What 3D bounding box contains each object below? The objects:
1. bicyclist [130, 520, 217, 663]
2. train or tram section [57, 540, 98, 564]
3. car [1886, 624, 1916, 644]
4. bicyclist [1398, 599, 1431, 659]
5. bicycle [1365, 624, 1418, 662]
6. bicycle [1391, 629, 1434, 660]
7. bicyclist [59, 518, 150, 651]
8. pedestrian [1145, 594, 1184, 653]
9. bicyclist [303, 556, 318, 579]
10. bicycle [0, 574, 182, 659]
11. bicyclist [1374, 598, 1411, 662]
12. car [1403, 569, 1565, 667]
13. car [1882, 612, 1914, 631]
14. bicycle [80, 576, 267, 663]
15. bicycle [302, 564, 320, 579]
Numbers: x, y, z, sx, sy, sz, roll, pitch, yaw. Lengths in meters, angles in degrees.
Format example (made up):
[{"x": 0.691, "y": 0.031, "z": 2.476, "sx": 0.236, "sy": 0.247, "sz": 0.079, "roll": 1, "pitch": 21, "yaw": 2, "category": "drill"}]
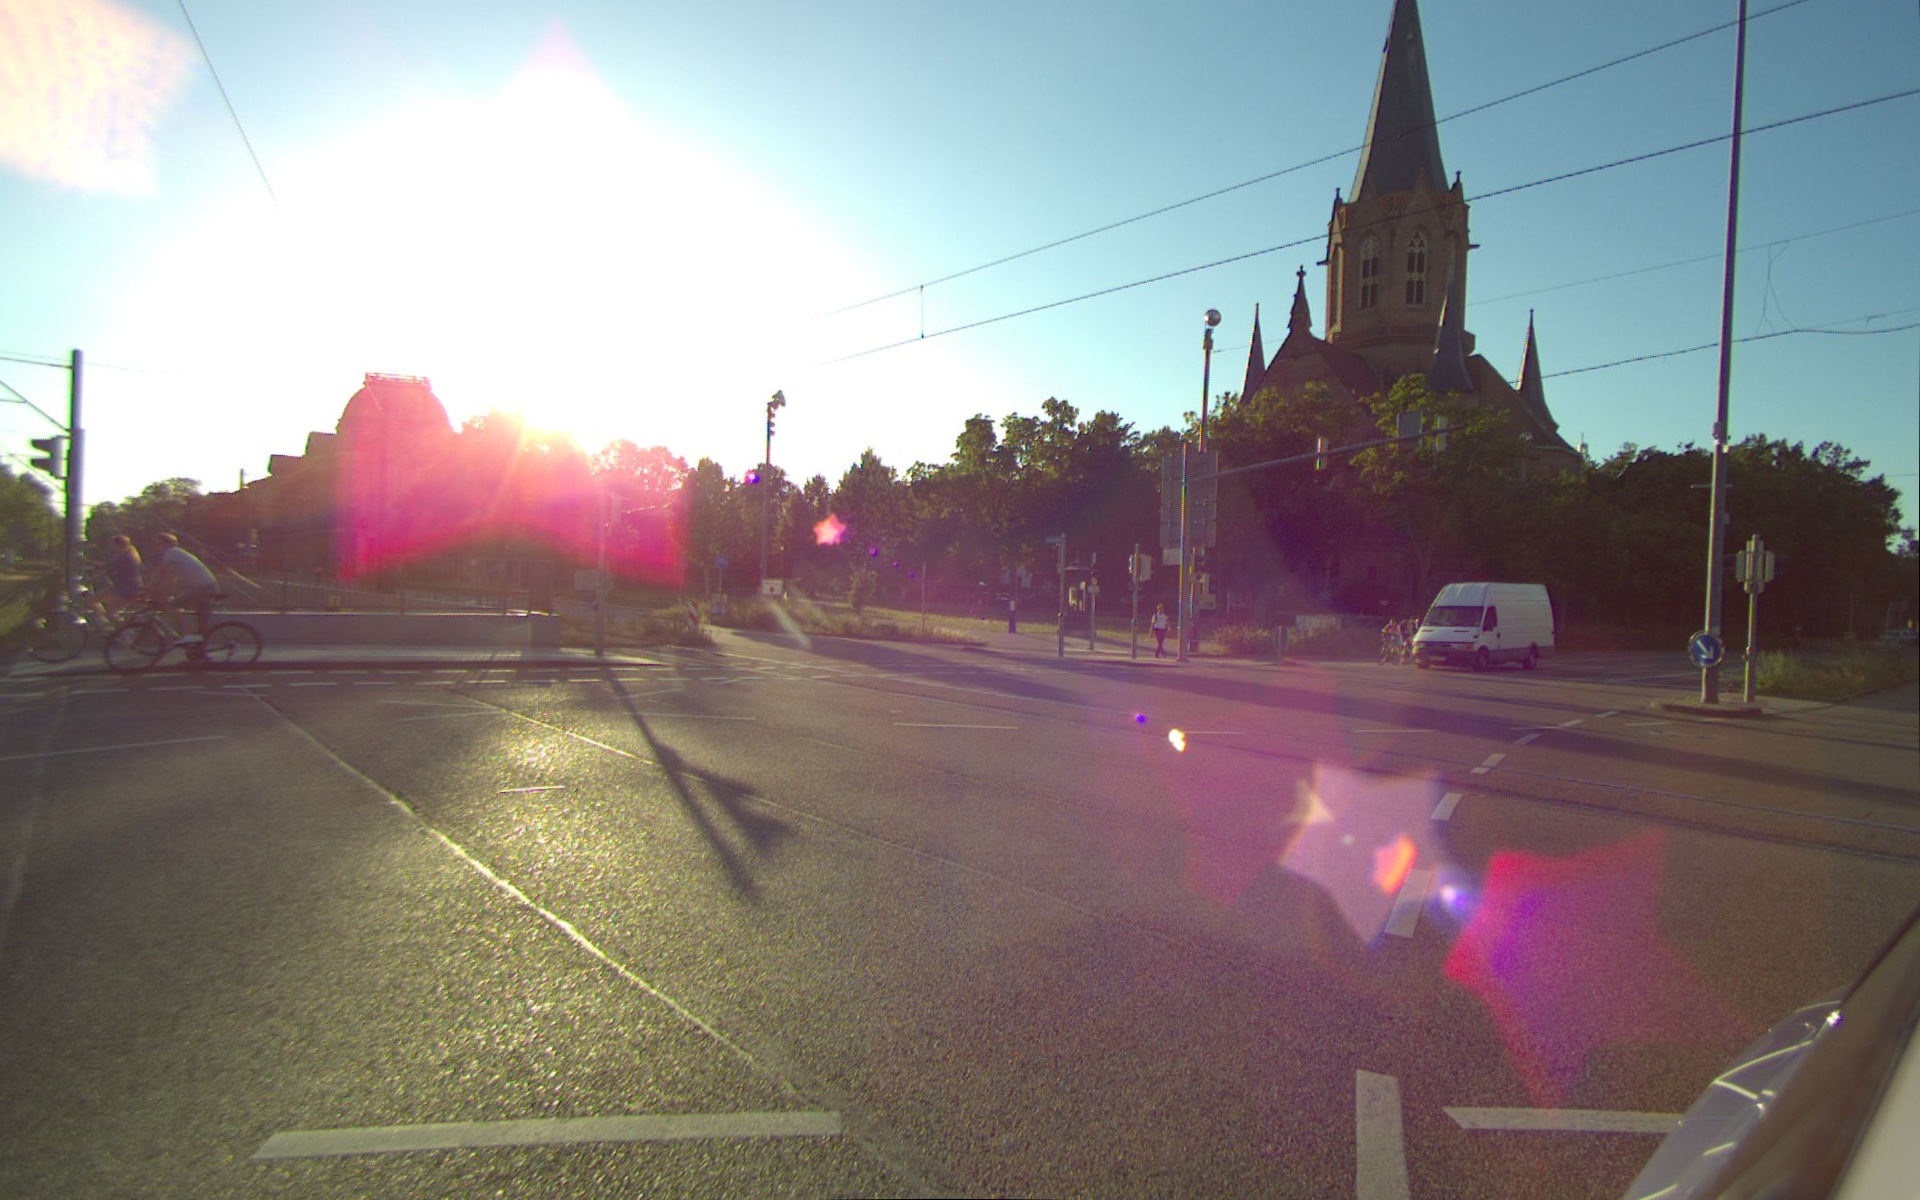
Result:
[{"x": -10.548, "y": -0.114, "z": 13.576, "sx": 0.643, "sy": 1.841, "sz": 0.783, "roll": 2, "pitch": 0, "yaw": 41, "category": "bicyclist"}, {"x": -152.328, "y": -8.255, "z": 174.642, "sx": 11.376, "sy": 3.898, "sz": 4.330, "roll": 3, "pitch": 1, "yaw": 44, "category": "train or tram section"}, {"x": 84.137, "y": 2.999, "z": 90.508, "sx": 1.901, "sy": 1.638, "sz": 3.937, "roll": 2, "pitch": 1, "yaw": 43, "category": "car"}, {"x": 15.807, "y": 1.014, "z": 35.191, "sx": 0.859, "sy": 2.039, "sz": 0.667, "roll": 2, "pitch": 0, "yaw": -39, "category": "bicyclist"}, {"x": 14.215, "y": 1.412, "z": 33.324, "sx": 1.937, "sy": 1.191, "sz": 0.734, "roll": 2, "pitch": 0, "yaw": -37, "category": "bicycle"}, {"x": 15.690, "y": 1.538, "z": 35.109, "sx": 1.590, "sy": 0.994, "sz": 0.674, "roll": 2, "pitch": 0, "yaw": -38, "category": "bicycle"}, {"x": -12.285, "y": -0.241, "z": 14.542, "sx": 0.534, "sy": 1.840, "sz": 0.868, "roll": 2, "pitch": 3, "yaw": 35, "category": "bicyclist"}, {"x": 6.436, "y": 0.741, "z": 31.905, "sx": 0.818, "sy": 1.826, "sz": 0.812, "roll": 2, "pitch": 0, "yaw": -27, "category": "pedestrian"}, {"x": -65.955, "y": -3.331, "z": 102.809, "sx": 1.067, "sy": 2.305, "sz": 0.984, "roll": 2, "pitch": 0, "yaw": -42, "category": "bicyclist"}, {"x": -12.427, "y": 0.199, "z": 14.361, "sx": 0.535, "sy": 1.096, "sz": 2.144, "roll": 2, "pitch": 3, "yaw": 35, "category": "bicycle"}, {"x": 14.255, "y": 0.979, "z": 33.334, "sx": 0.885, "sy": 2.039, "sz": 0.722, "roll": 2, "pitch": 0, "yaw": -37, "category": "bicyclist"}, {"x": 16.939, "y": 0.581, "z": 32.509, "sx": 6.908, "sy": 2.863, "sz": 2.090, "roll": 2, "pitch": 0, "yaw": -40, "category": "car"}, {"x": 87.044, "y": 1.991, "z": 93.943, "sx": 1.991, "sy": 1.679, "sz": 3.941, "roll": 2, "pitch": 0, "yaw": 40, "category": "car"}, {"x": -10.514, "y": 0.250, "z": 13.593, "sx": 0.629, "sy": 1.089, "sz": 1.879, "roll": 2, "pitch": 0, "yaw": 40, "category": "bicycle"}, {"x": -65.896, "y": -2.872, "z": 102.753, "sx": 1.082, "sy": 1.416, "sz": 2.827, "roll": 2, "pitch": 0, "yaw": -42, "category": "bicycle"}]
